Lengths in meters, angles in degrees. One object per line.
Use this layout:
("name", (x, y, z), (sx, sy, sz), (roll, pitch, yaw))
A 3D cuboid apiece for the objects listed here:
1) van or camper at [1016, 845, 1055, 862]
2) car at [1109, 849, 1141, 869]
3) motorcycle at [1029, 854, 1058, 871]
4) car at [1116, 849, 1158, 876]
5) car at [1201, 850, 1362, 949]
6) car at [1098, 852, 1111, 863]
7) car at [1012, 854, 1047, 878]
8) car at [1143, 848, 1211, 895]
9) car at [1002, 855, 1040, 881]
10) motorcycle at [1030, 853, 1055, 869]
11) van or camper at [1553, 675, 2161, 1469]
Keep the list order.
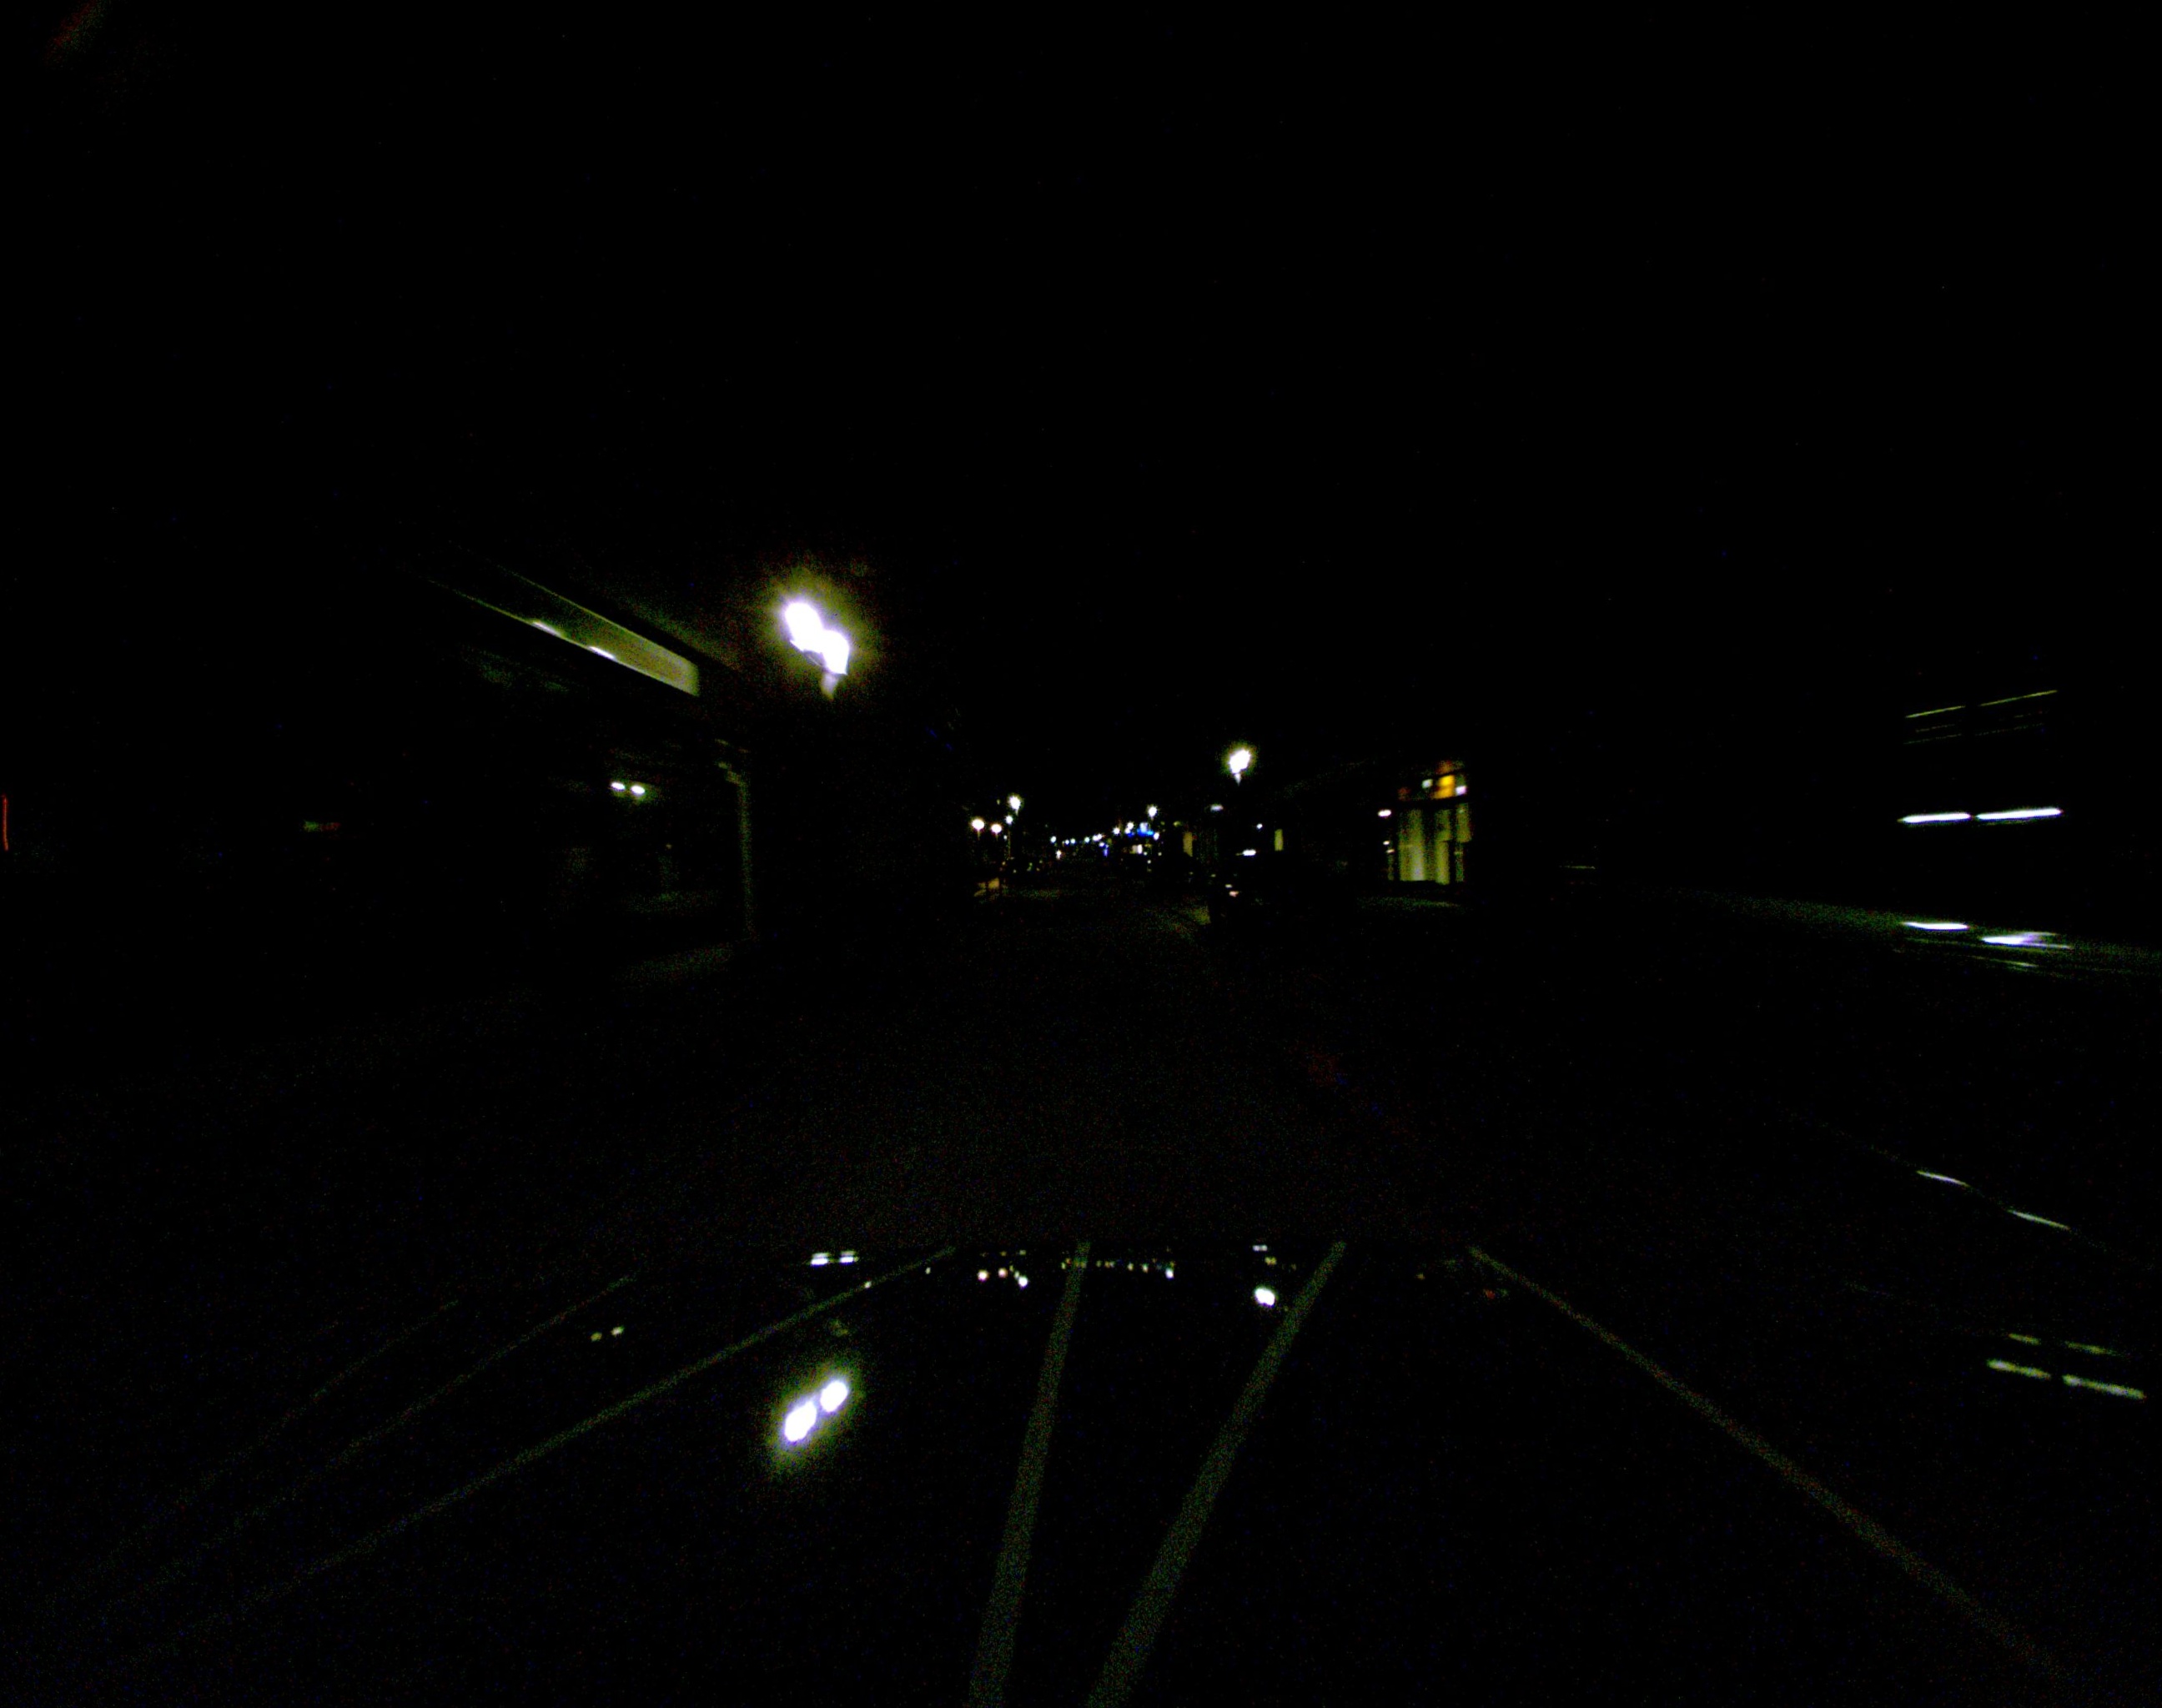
("van or camper", (-7.454, -0.061, 124.347), (6.061, 2.519, 2.157), (-2, 1, -31))
("car", (3.350, 0.350, 58.290), (1.905, 1.462, 4.523), (-2, 1, -3))
("motorcycle", (-3.019, 0.681, 61.321), (2.266, 1.383, 0.662), (-1, 1, 25))
("car", (3.316, 0.469, 45.753), (1.850, 1.455, 4.621), (-3, 1, -3))
("car", (3.402, 0.674, 13.745), (1.721, 1.404, 4.385), (-3, 0, 1))
("car", (3.528, 0.539, 116.943), (1.655, 1.417, 4.013), (-4, 0, -2))
("car", (-3.309, 0.732, 49.333), (1.757, 1.455, 4.467), (0, 1, 3))
("car", (3.422, 0.568, 27.955), (1.802, 1.469, 4.320), (-4, 1, -1))
("car", (-3.428, 0.795, 43.896), (1.665, 1.369, 4.104), (0, 1, 3))
("motorcycle", (-3.292, 0.603, 64.292), (2.165, 1.290, 0.516), (-1, 1, 30))
("van or camper", (3.528, 0.496, 1.873), (1.850, 1.930, 5.155), (-3, 0, 5))
